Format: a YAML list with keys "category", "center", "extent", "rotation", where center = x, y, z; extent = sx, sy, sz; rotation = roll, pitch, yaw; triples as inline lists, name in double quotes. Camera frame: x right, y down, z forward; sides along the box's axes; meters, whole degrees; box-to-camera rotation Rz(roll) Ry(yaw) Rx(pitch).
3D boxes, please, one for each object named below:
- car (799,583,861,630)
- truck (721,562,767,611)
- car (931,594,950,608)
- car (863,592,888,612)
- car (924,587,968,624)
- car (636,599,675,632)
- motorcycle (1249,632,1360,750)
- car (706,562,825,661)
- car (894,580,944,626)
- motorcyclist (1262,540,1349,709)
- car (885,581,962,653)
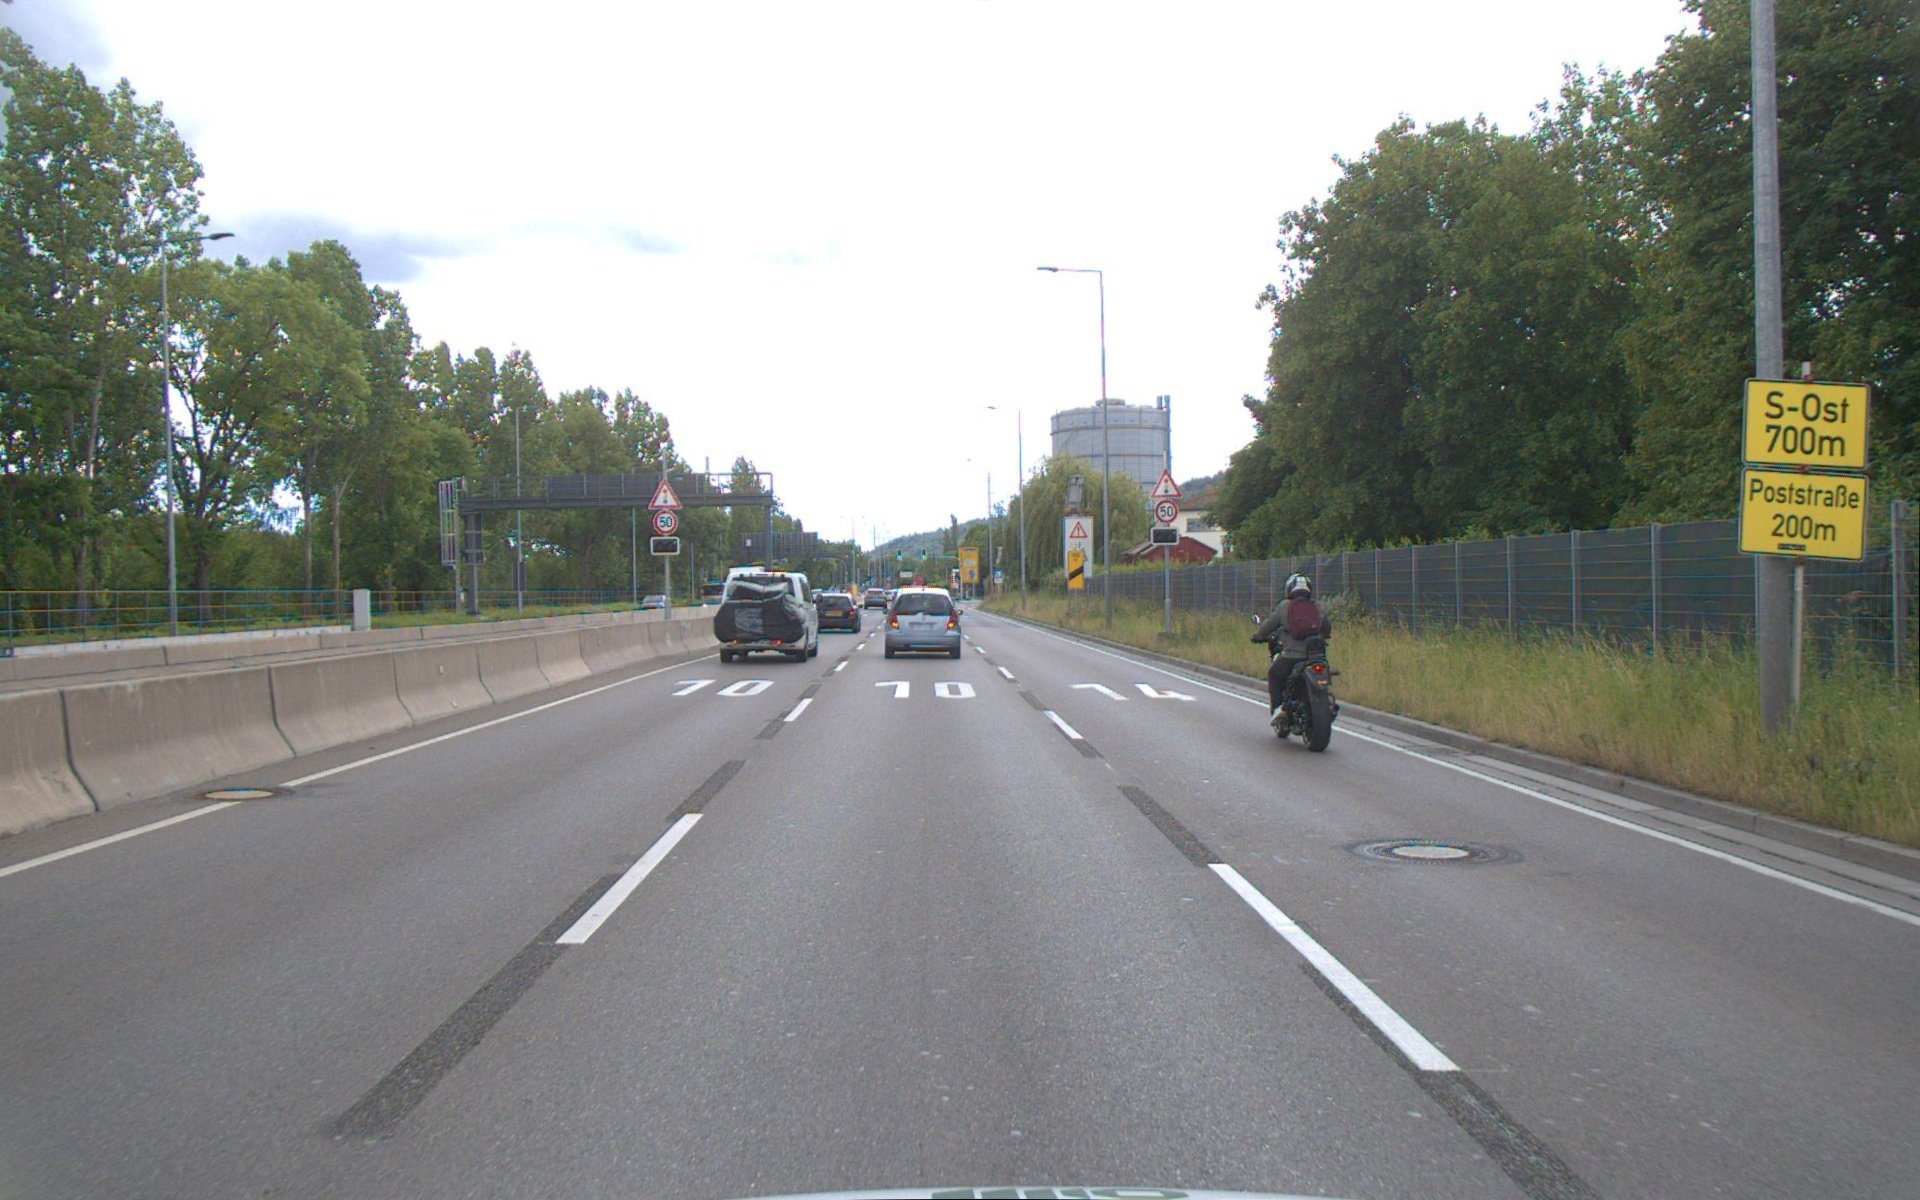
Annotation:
- category: "car"
  center: [-4.679, 0.225, 60.082]
  extent: [1.953, 1.579, 3.999]
  rotation: [1, 0, -1]
- category: "truck"
  center: [-14.433, -0.872, 110.813]
  extent: [2.355, 3.161, 7.198]
  rotation: [1, 0, -2]
- category: "car"
  center: [-2.174, 0.099, 184.579]
  extent: [1.954, 1.579, 3.998]
  rotation: [1, 0, -3]
- category: "car"
  center: [-6.730, 0.156, 132.231]
  extent: [1.954, 1.579, 3.998]
  rotation: [1, 0, -3]
- category: "car"
  center: [-0.613, 0.223, 71.487]
  extent: [1.803, 1.489, 3.999]
  rotation: [1, 0, -2]
- category: "car"
  center: [-19.994, 1.002, 108.816]
  extent: [1.954, 2.049, 3.998]
  rotation: [1, 0, -3]
- category: "motorcycle"
  center: [3.435, 0.877, 16.648]
  extent: [0.692, 1.058, 2.027]
  rotation: [1, 0, 0]
- category: "car"
  center: [-4.105, 0.226, 35.697]
  extent: [2.170, 1.959, 4.999]
  rotation: [1, 0, -3]
- category: "car"
  center: [-1.584, 0.106, 65.030]
  extent: [1.869, 1.713, 3.999]
  rotation: [1, 0, -1]
- category: "motorcyclist"
  center: [3.449, 0.237, 16.576]
  extent: [0.670, 1.638, 0.845]
  rotation: [1, 0, 0]
- category: "car"
  center: [-0.873, 0.383, 38.594]
  extent: [1.676, 1.557, 3.998]
  rotation: [1, 0, -2]
